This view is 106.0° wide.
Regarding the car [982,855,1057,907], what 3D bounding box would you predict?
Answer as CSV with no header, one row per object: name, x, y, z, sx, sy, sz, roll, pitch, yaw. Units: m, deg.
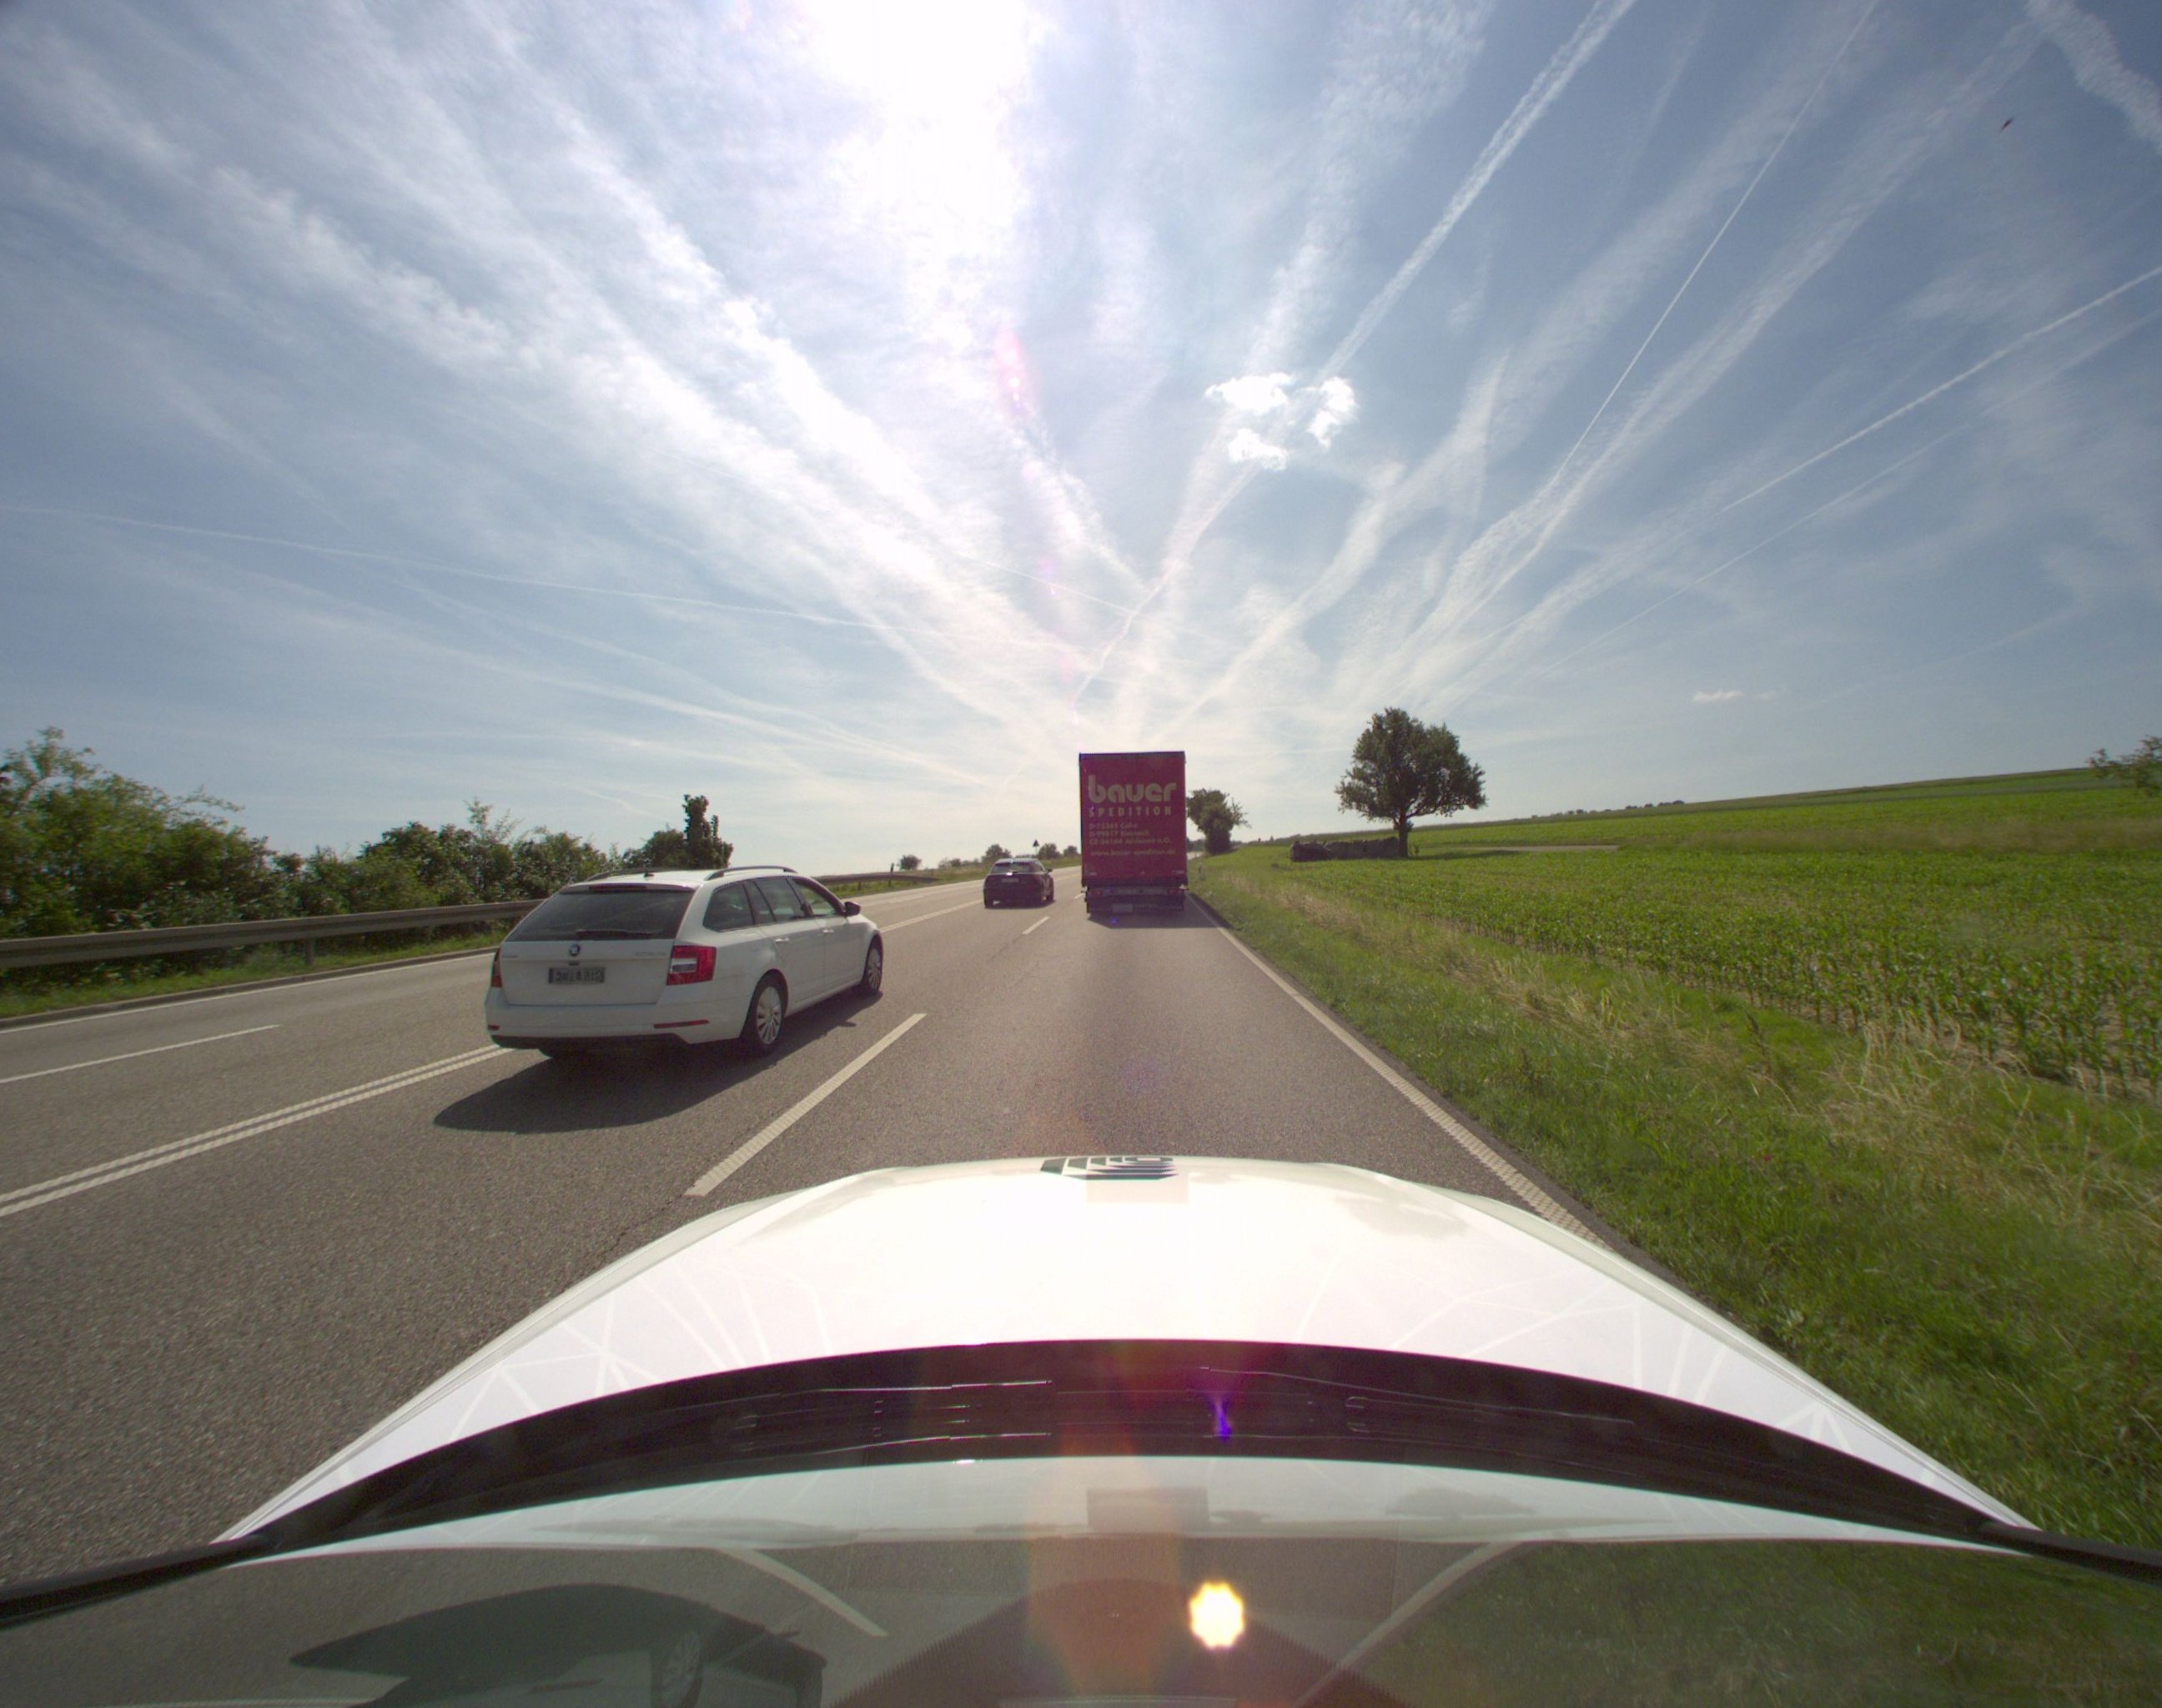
car,-1.865,0.777,25.961,1.698,1.472,4.816,-1,0,4

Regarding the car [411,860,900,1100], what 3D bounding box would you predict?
car,-3.252,0.823,7.580,1.813,1.472,4.792,-1,0,3

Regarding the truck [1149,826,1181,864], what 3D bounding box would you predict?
truck,9.728,-0.994,93.245,3.030,3.910,15.648,-2,0,8

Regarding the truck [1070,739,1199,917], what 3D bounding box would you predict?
truck,1.632,-0.591,27.557,2.995,4.180,16.724,-1,0,3

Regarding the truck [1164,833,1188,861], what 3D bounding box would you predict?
truck,14.954,-1.052,127.008,3.029,3.910,18.442,-2,0,9

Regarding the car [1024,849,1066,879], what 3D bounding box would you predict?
car,-2.380,0.659,54.883,1.895,1.884,5.442,-1,0,7
